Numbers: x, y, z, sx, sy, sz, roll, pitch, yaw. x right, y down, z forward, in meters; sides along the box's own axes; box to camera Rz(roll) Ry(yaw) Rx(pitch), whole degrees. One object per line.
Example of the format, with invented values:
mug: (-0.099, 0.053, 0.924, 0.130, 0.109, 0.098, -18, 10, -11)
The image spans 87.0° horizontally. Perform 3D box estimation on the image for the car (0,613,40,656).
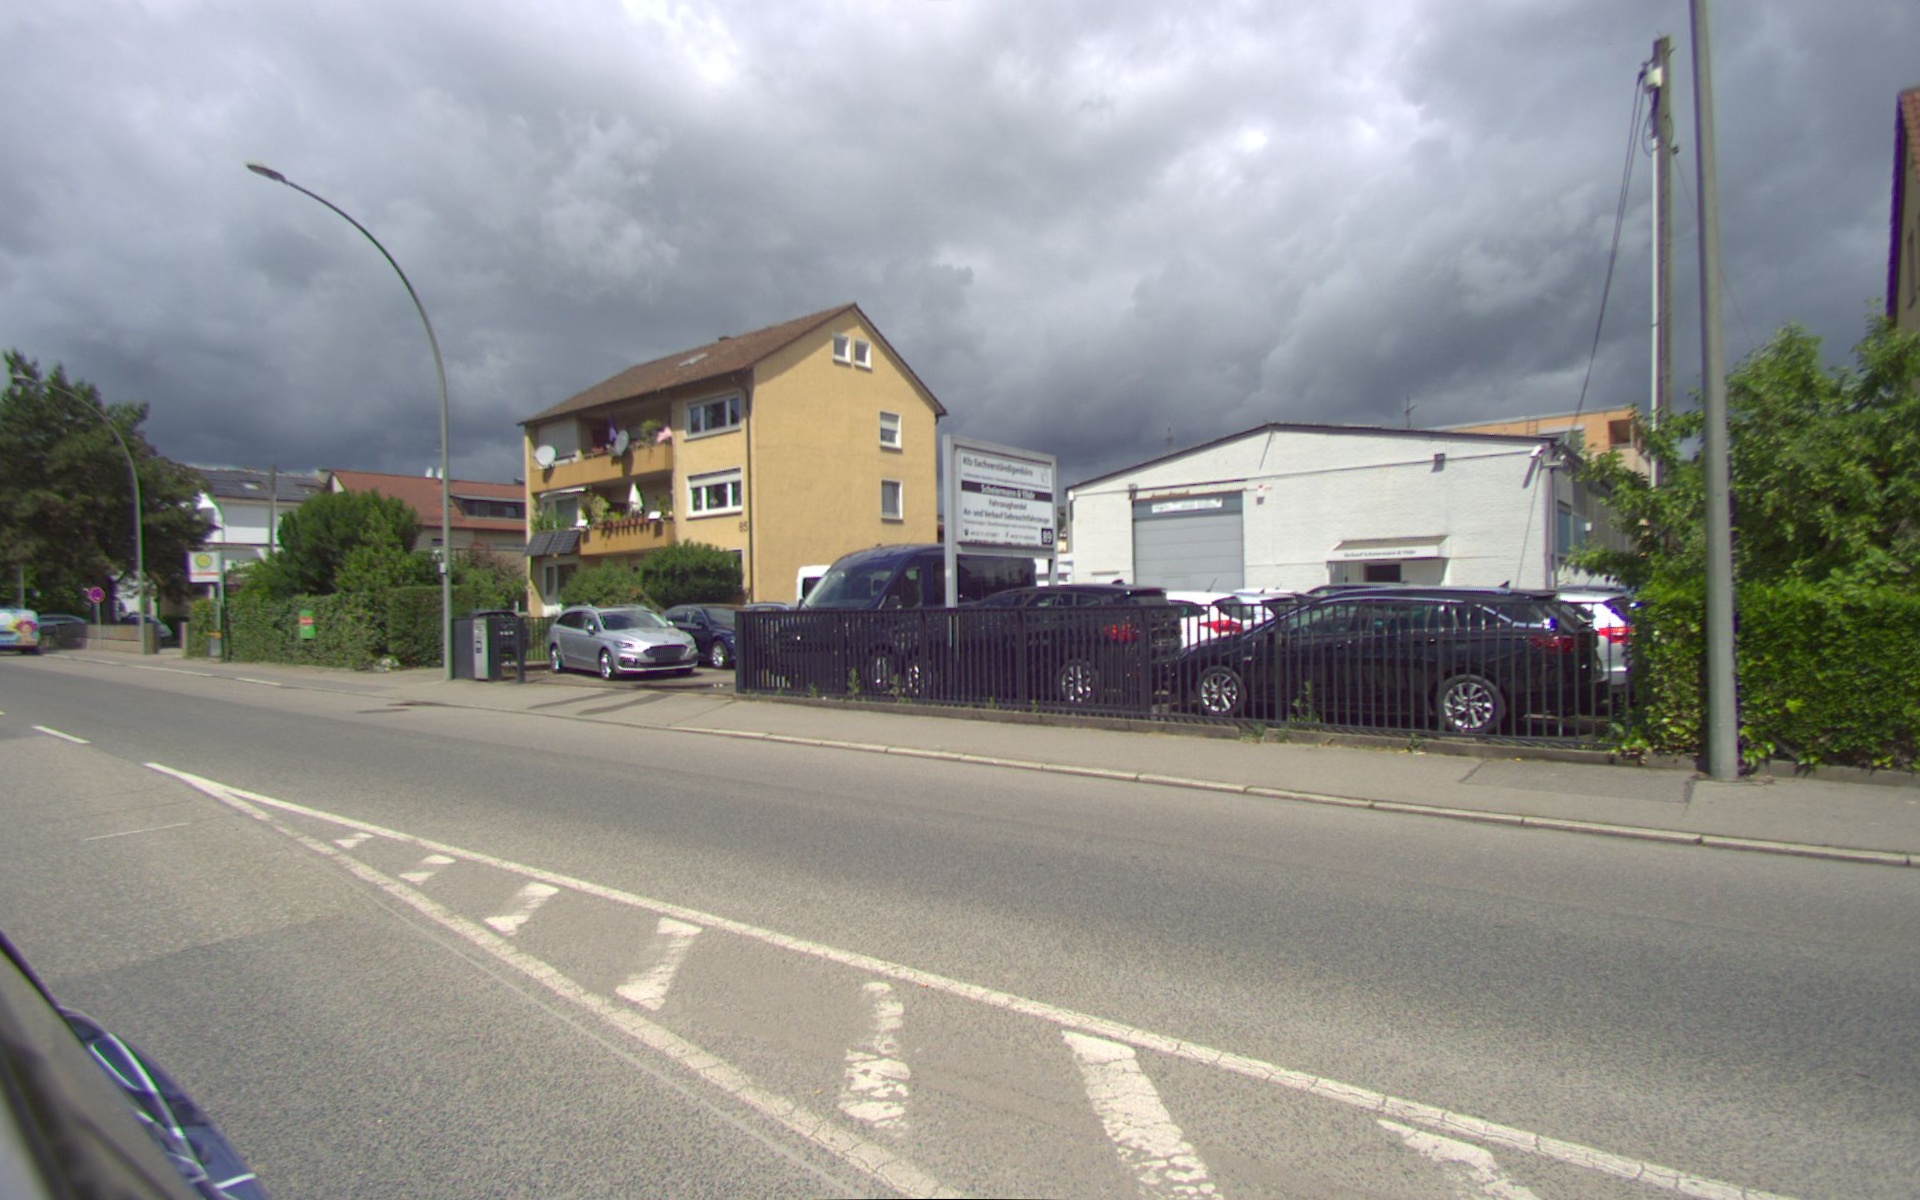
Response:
car: (-39.215, 1.389, 41.422, 3.995, 1.693, 1.708, -1, 0, 39)

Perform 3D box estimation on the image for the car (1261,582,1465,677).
car: (9.378, 0.635, 23.703, 3.998, 2.029, 1.973, -1, 0, 41)

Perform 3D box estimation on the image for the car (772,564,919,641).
car: (-3.302, 0.073, 28.726, 3.998, 2.029, 1.973, -1, 0, 41)

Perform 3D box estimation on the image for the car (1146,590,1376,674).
car: (5.870, 0.581, 19.988, 3.998, 1.498, 1.742, -1, 0, 41)

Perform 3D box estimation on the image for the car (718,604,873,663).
car: (-4.327, 0.827, 26.294, 3.998, 1.383, 1.859, -1, 0, 41)

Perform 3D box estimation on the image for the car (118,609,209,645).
car: (-46.371, 1.572, 58.945, 3.954, 2.029, 1.995, -1, 0, 9)

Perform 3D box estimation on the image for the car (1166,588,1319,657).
car: (8.449, 0.651, 30.429, 3.998, 1.941, 1.973, -1, 0, 41)

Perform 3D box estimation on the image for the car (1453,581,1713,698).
car: (11.959, 0.696, 19.543, 3.998, 2.029, 1.973, -1, 0, 41)

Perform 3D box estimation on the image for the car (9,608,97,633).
car: (-68.438, 1.525, 76.422, 2.216, 1.691, 4.676, -1, 0, 39)

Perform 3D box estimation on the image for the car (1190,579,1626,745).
car: (4.801, 0.568, 11.129, 4.040, 1.494, 1.840, -1, 0, 40)

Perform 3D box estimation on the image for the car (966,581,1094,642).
car: (2.363, 0.376, 34.630, 3.998, 1.941, 1.973, -1, 0, 41)

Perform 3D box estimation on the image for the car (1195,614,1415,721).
car: (7.289, 1.328, 21.565, 3.998, 2.029, 1.973, -1, 0, 41)

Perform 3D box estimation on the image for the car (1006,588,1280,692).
car: (2.861, 0.573, 16.320, 3.998, 1.470, 1.795, -1, 0, 41)

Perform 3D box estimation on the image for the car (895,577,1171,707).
car: (0.977, 0.535, 14.555, 3.619, 1.633, 1.790, -1, 0, 41)

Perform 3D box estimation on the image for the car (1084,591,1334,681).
car: (4.345, 0.577, 17.994, 3.998, 1.423, 1.716, -1, 0, 41)

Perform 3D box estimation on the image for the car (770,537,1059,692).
car: (-0.648, 0.216, 18.361, 2.104, 2.402, 5.293, -1, 0, 42)

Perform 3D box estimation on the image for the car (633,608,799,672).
car: (-5.804, 0.890, 23.886, 3.998, 1.352, 1.861, -1, 0, 41)

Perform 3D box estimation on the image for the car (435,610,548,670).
car: (-14.085, 1.157, 30.383, 3.520, 1.678, 1.807, -1, 0, 41)

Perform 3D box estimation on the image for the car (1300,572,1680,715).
car: (6.736, 0.482, 13.064, 3.998, 1.552, 1.973, -1, 0, 41)

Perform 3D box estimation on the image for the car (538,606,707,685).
car: (-7.284, 0.893, 21.576, 1.861, 1.470, 4.356, -2, 1, -41)

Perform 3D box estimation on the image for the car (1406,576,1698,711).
car: (10.003, 0.664, 17.241, 3.998, 2.029, 1.973, -1, 0, 41)

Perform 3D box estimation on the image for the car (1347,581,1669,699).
car: (8.276, 0.540, 15.450, 3.998, 1.560, 1.973, -1, 0, 41)
